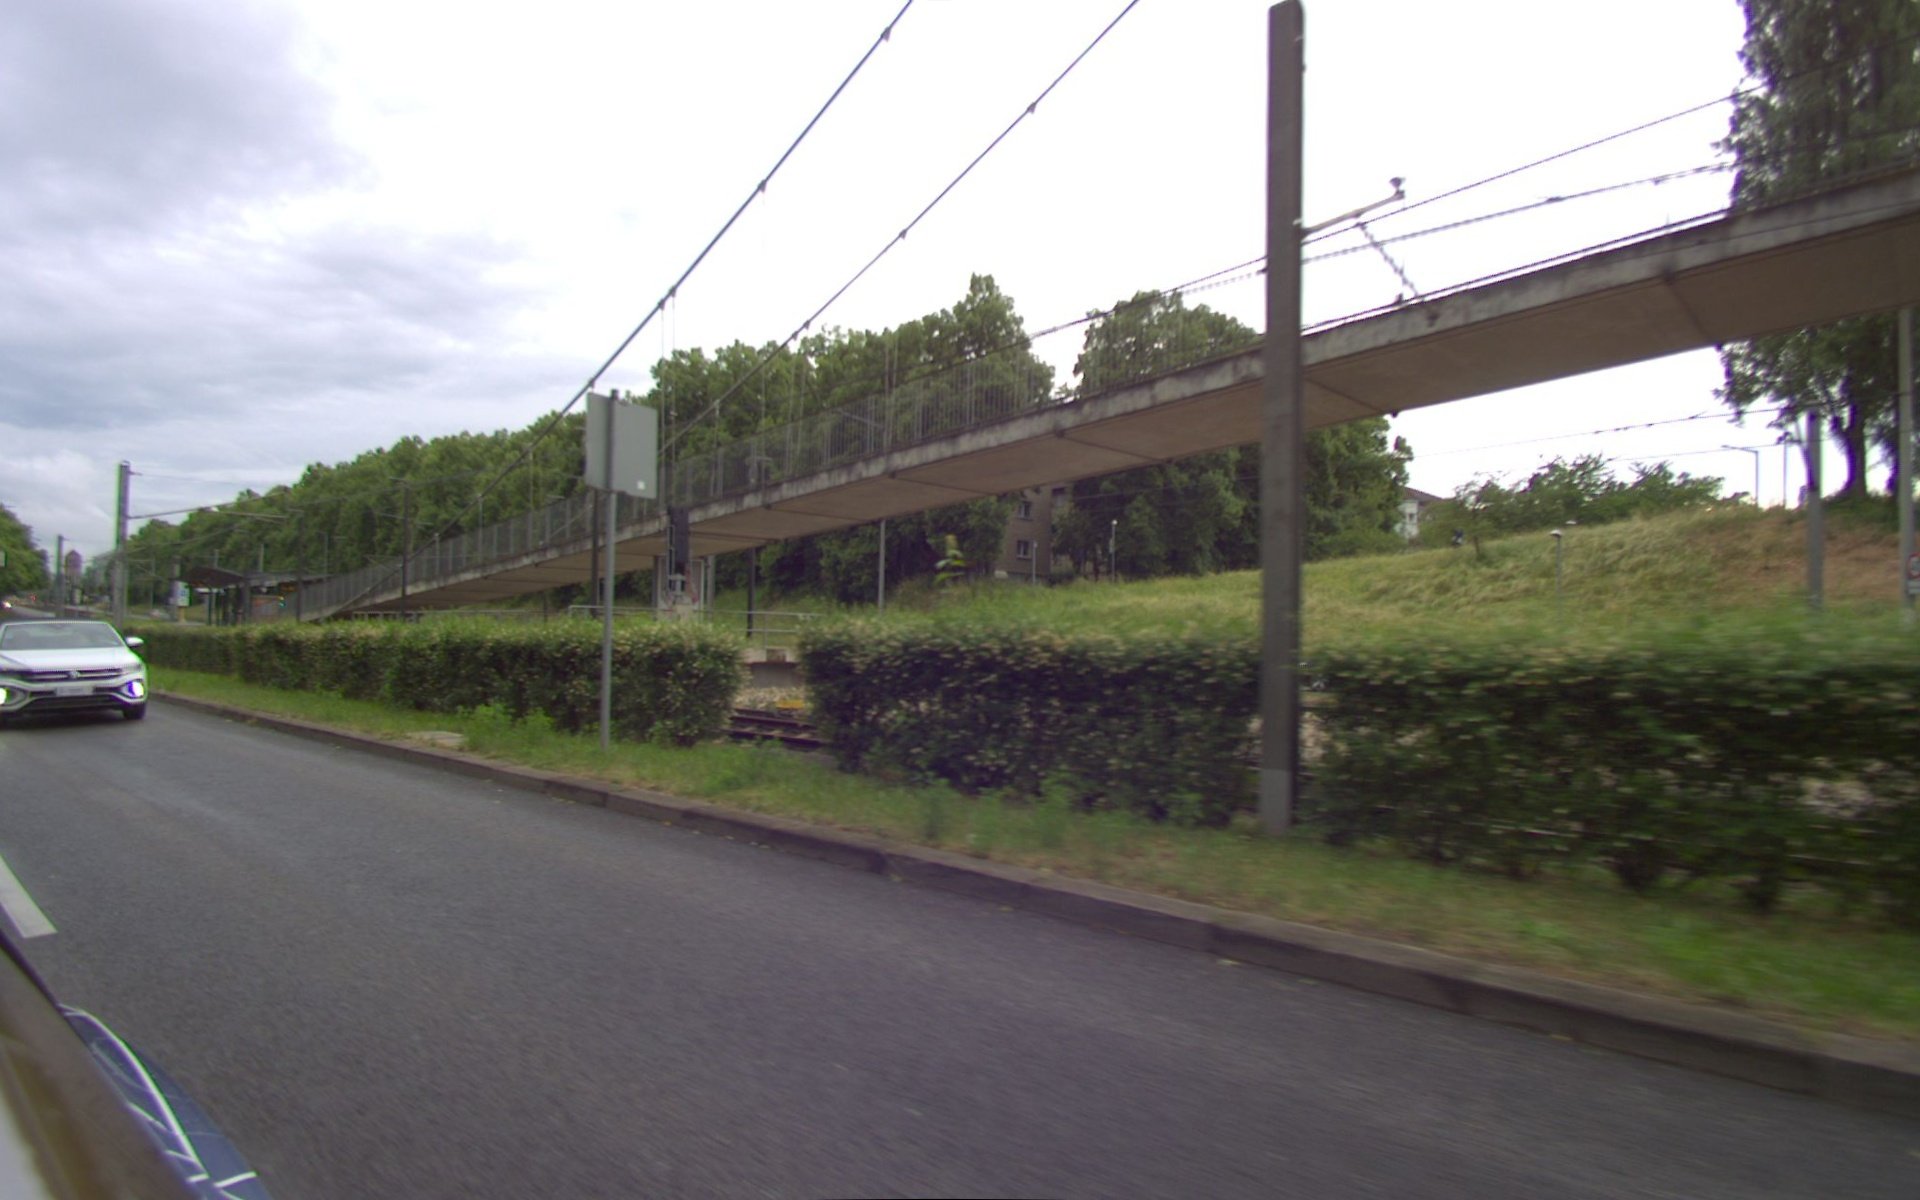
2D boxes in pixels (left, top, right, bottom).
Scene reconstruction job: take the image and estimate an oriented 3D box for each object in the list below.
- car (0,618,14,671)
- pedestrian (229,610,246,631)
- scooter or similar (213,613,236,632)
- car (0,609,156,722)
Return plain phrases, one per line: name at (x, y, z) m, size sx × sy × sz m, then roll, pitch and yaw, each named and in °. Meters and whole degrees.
car at (-29.720, 1.314, 30.305) m, size 1.932 × 1.492 × 4.705 m, roll -1°, pitch 0°, yaw -42°
pedestrian at (-46.063, 1.303, 64.535) m, size 0.744 × 1.366 × 0.693 m, roll 2°, pitch -2°, yaw -44°
scooter or similar at (-48.775, 1.479, 67.110) m, size 1.283 × 1.227 × 0.379 m, roll 0°, pitch 0°, yaw 3°
car at (-13.994, 0.901, 15.417) m, size 4.697 × 1.476 × 1.935 m, roll -1°, pitch -1°, yaw 41°
